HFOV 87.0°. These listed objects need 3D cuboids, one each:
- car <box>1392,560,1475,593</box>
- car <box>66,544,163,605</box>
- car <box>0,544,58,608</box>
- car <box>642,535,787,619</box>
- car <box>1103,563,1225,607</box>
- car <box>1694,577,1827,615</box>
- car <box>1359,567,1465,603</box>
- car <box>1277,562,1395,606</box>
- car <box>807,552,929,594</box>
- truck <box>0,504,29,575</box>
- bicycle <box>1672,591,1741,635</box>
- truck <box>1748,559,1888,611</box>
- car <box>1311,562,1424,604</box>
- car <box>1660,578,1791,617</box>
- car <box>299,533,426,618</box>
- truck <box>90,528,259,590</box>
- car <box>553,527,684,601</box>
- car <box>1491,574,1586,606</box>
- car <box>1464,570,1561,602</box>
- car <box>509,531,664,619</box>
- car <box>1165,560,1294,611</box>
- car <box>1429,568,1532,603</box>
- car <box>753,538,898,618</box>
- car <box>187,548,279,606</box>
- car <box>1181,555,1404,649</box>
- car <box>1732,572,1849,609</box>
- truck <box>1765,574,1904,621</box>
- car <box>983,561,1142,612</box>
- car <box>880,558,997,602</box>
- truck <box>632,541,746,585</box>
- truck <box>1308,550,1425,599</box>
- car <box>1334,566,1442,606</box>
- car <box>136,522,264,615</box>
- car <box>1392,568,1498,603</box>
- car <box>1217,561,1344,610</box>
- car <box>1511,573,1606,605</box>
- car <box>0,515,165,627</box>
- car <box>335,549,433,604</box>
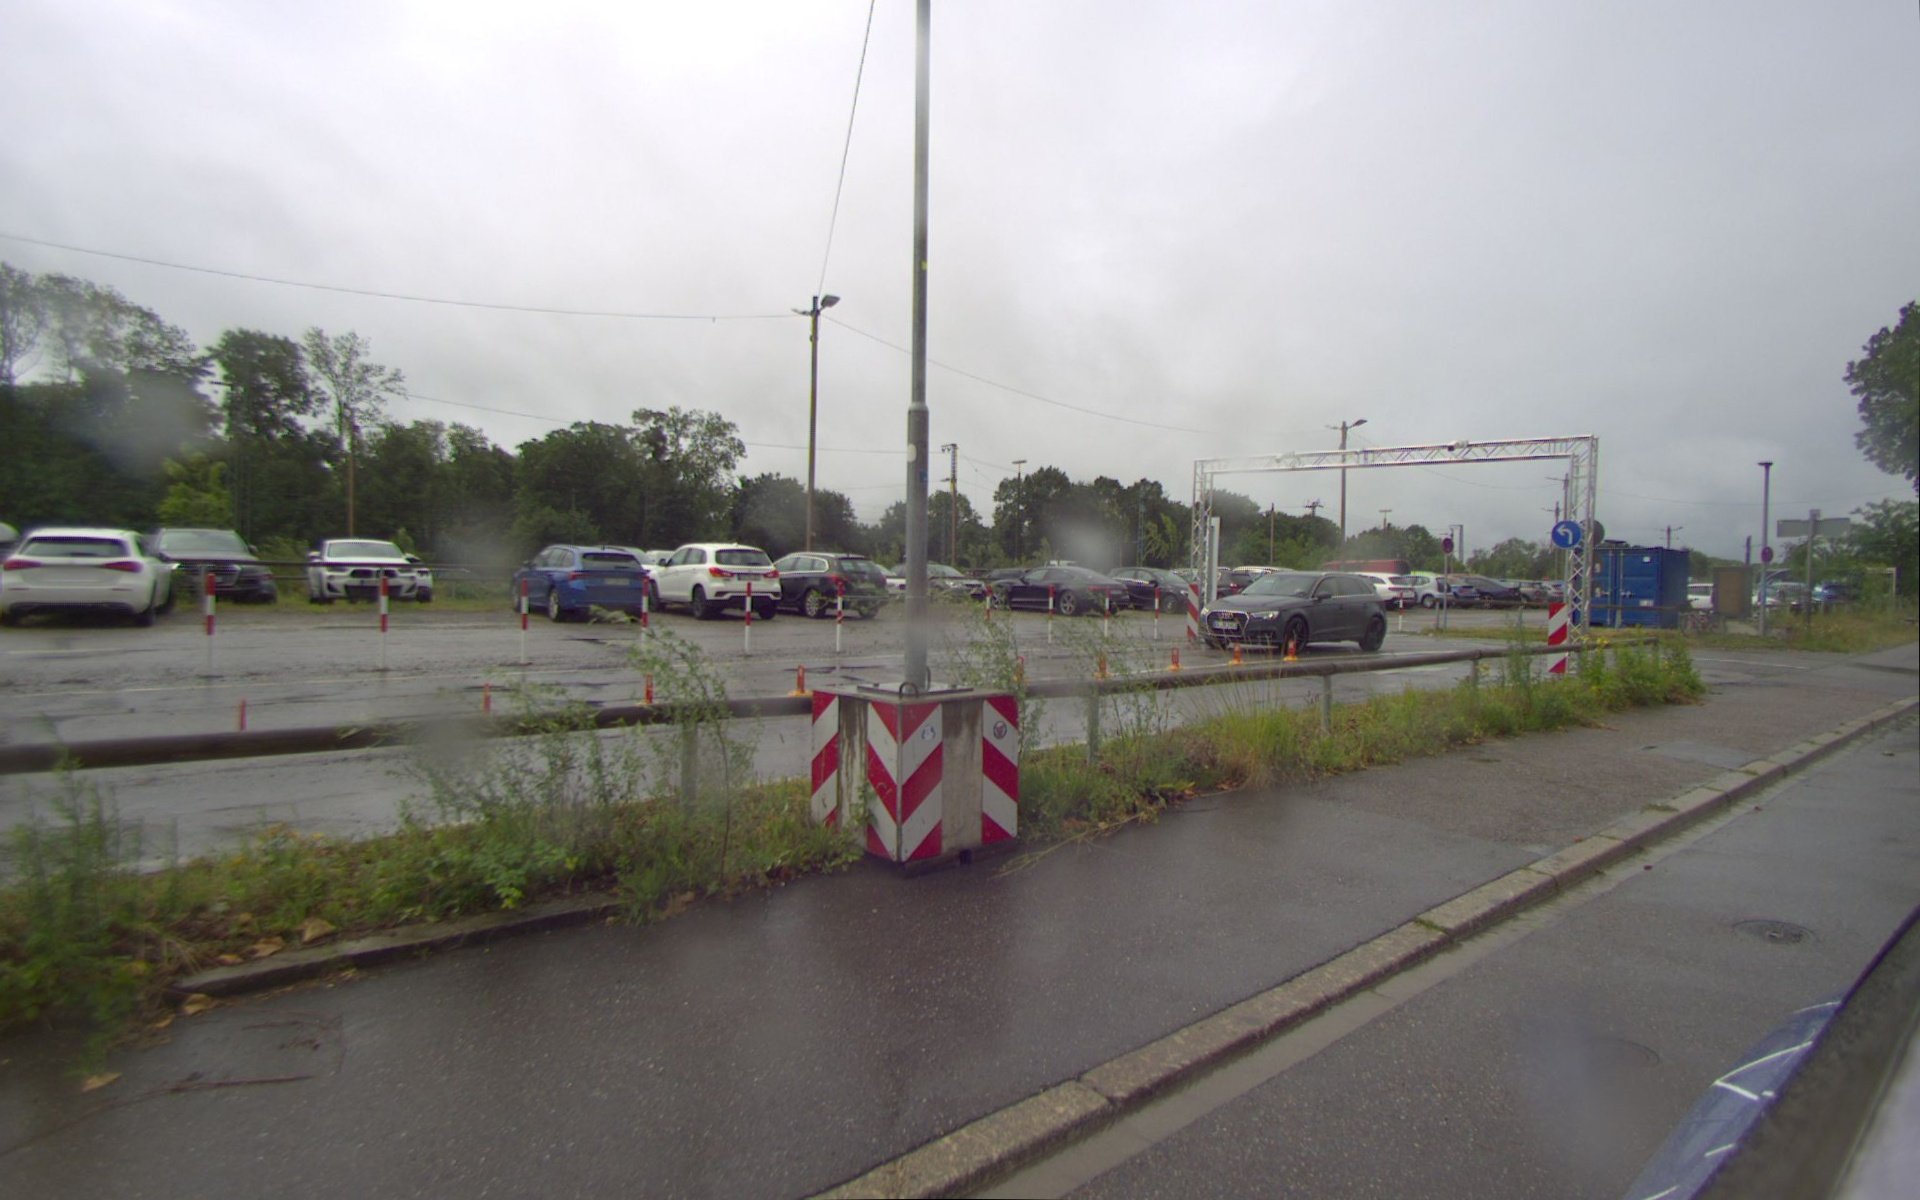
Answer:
[{"bbox_3d":[27.638,-1.399,59.148,1.763,1.822,4.001,0,2,-35],"label":"car"},{"bbox_3d":[-24.070,-0.759,28.894,1.985,1.608,4.328,1,2,-39],"label":"car"},{"bbox_3d":[-25.834,-0.700,27.323,1.985,1.608,4.328,1,2,-39],"label":"car"},{"bbox_3d":[-5.555,-0.588,22.564,1.753,1.602,3.917,-1,5,-36],"label":"car"},{"bbox_3d":[6.621,-0.521,33.198,1.616,1.236,3.903,-1,4,-34],"label":"car"},{"bbox_3d":[31.862,-0.205,40.332,1.873,1.440,3.901,-1,2,-42],"label":"car"},{"bbox_3d":[20.410,-0.712,45.823,1.852,1.444,3.965,-1,4,-37],"label":"car"},{"bbox_3d":[14.671,-0.666,39.656,1.745,1.508,3.965,-1,4,-37],"label":"car"},{"bbox_3d":[-2.964,-0.886,32.018,1.801,1.084,4.069,-2,5,-41],"label":"car"},{"bbox_3d":[-34.973,-2.128,34.251,4.994,2.431,2.077,0,2,-40],"label":"truck"},{"bbox_3d":[19.092,0.332,25.882,1.667,1.097,0.510,1,2,-19],"label":"bicycle"},{"bbox_3d":[42.523,-0.774,50.251,2.074,2.432,5.040,0,1,-42],"label":"truck"},{"bbox_3d":[16.674,-0.753,41.549,1.745,1.508,3.965,-1,4,-37],"label":"car"},{"bbox_3d":[29.548,-0.134,39.121,1.873,1.410,3.777,-1,2,-42],"label":"car"},{"bbox_3d":[-13.380,-0.621,22.559,1.892,1.624,4.072,-1,5,-38],"label":"car"},{"bbox_3d":[-29.806,-1.535,38.647,4.987,2.164,2.080,1,2,-35],"label":"truck"},{"bbox_3d":[-8.875,-0.977,26.126,1.801,1.679,4.069,-2,5,-41],"label":"car"},{"bbox_3d":[30.886,-0.564,54.115,1.788,1.444,3.965,-1,4,-37],"label":"car"},{"bbox_3d":[28.581,-0.779,52.433,1.852,1.444,3.965,-1,4,-37],"label":"car"},{"bbox_3d":[-7.641,-0.574,20.482,1.892,1.501,4.059,-1,5,-36],"label":"car"},{"bbox_3d":[9.149,-0.540,34.597,1.836,1.508,3.965,-1,4,-37],"label":"car"},{"bbox_3d":[25.003,-0.722,48.704,1.852,1.444,3.965,-1,4,-37],"label":"car"},{"bbox_3d":[-3.249,-0.582,23.900,1.753,1.602,3.788,-1,5,-36],"label":"car"},{"bbox_3d":[-21.825,-0.720,30.313,1.985,1.608,4.328,1,2,-39],"label":"car"},{"bbox_3d":[6.106,-0.003,18.383,4.152,1.474,1.899,0,3,-40],"label":"car"},{"bbox_3d":[37.731,-0.474,46.037,1.865,1.614,3.901,-1,2,-42],"label":"car"},{"bbox_3d":[46.534,-0.183,53.991,2.037,2.352,5.341,0,1,-39],"label":"truck"},{"bbox_3d":[2.934,-0.448,29.821,1.944,1.236,4.598,-1,4,-40],"label":"car"},{"bbox_3d":[-0.764,-0.697,33.683,1.725,1.348,3.993,0,2,-42],"label":"car"},{"bbox_3d":[-13.814,-1.852,51.704,5.183,2.038,2.087,1,2,-39],"label":"truck"},{"bbox_3d":[21.353,-1.381,53.397,2.115,2.397,5.301,0,3,-40],"label":"truck"},{"bbox_3d":[18.567,-0.657,44.064,1.745,1.508,3.965,-1,4,-37],"label":"car"},{"bbox_3d":[-15.578,-0.737,20.701,1.892,1.624,4.716,-1,5,-38],"label":"car"},{"bbox_3d":[22.435,-0.711,46.918,1.852,1.444,3.965,-1,4,-37],"label":"car"},{"bbox_3d":[11.362,-0.556,36.063,1.836,1.508,3.965,-1,4,-37],"label":"car"},{"bbox_3d":[33.009,-0.632,55.916,1.891,1.508,4.078,-1,4,-37],"label":"car"},{"bbox_3d":[-13.759,-0.533,15.877,1.892,1.501,3.843,-1,5,-36],"label":"car"},{"bbox_3d":[-18.606,-0.783,32.627,1.985,1.608,4.327,1,2,-40],"label":"car"}]
